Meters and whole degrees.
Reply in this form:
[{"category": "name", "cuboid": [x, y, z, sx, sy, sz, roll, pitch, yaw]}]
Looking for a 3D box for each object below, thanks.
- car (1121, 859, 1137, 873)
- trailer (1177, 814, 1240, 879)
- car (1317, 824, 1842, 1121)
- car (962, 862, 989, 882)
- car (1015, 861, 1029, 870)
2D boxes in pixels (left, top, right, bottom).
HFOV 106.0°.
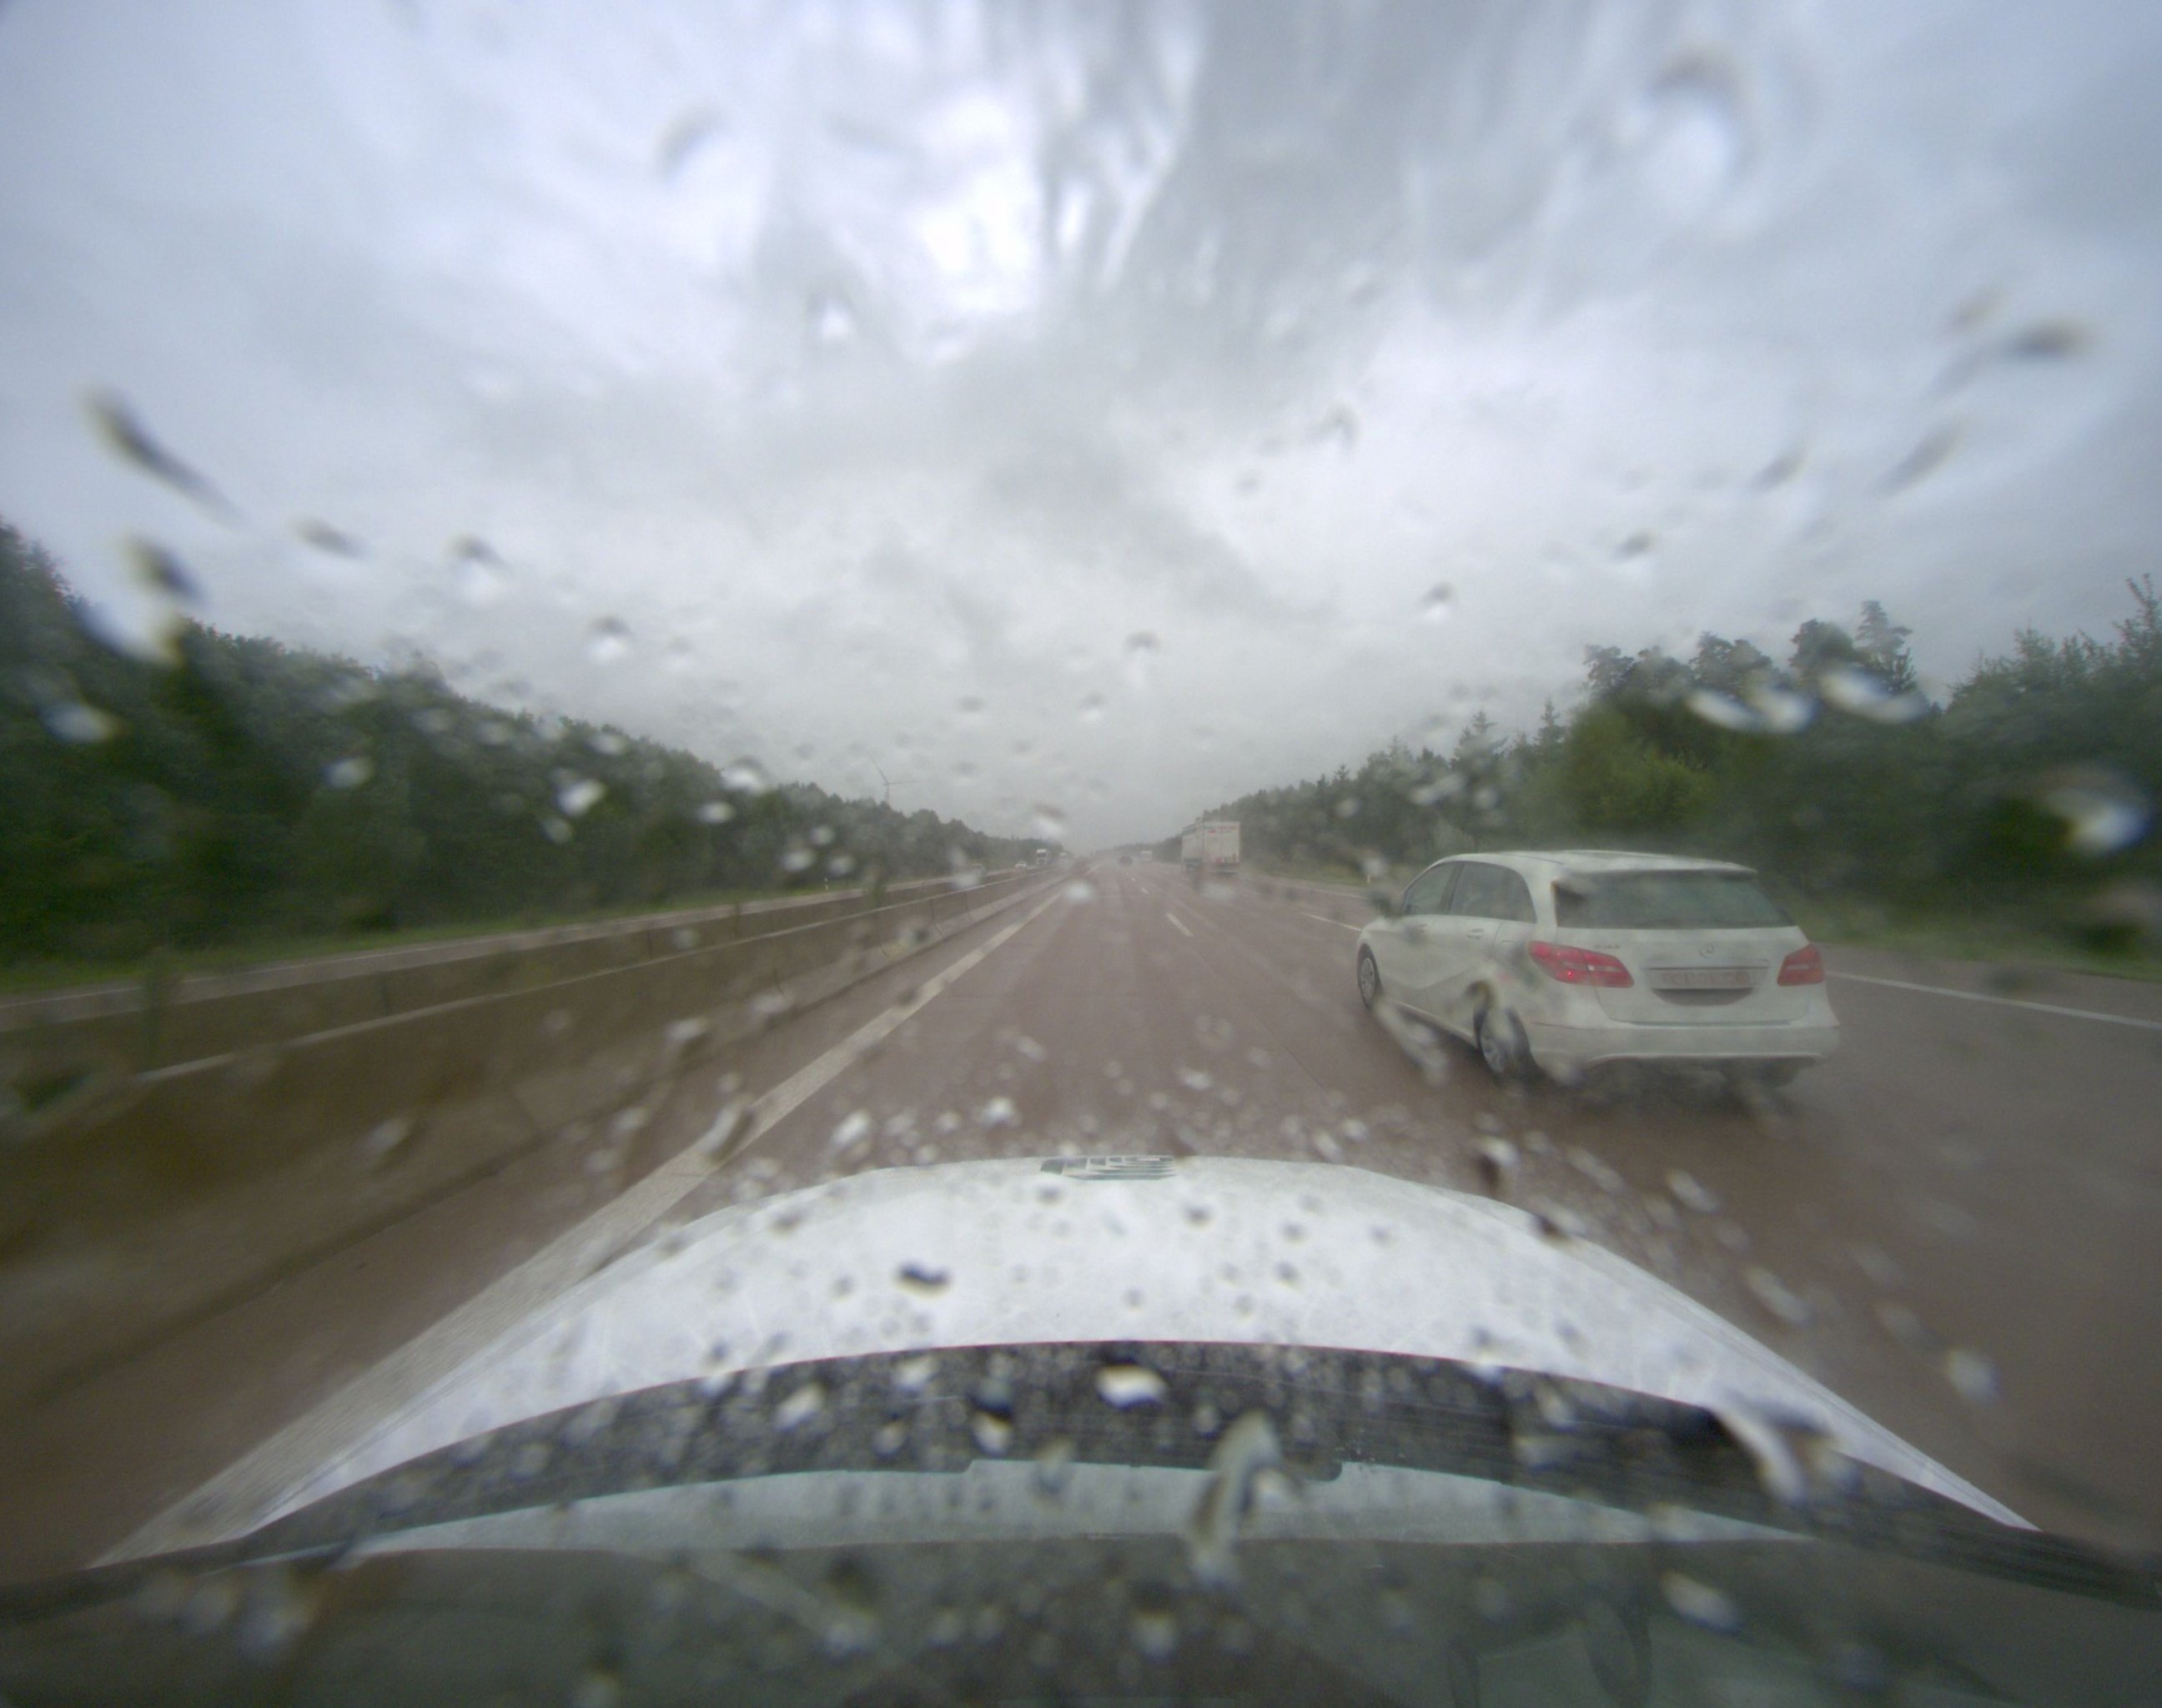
[{"category": "car", "cuboid": [6.675, 1.647, 113.491, 2.165, 1.981, 4.132, 0, -1, 2]}, {"category": "trailer", "cuboid": [9.339, -0.550, 61.440, 2.842, 4.231, 13.135, -3, 0, 1]}, {"category": "car", "cuboid": [3.585, 0.698, 7.120, 1.801, 1.728, 4.745, 0, 0, 2]}, {"category": "car", "cuboid": [-9.802, 1.670, 75.744, 1.802, 1.631, 4.504, -3, 0, 0]}, {"category": "car", "cuboid": [-10.127, 1.953, 139.369, 1.747, 1.480, 4.585, -4, 0, 2]}]
